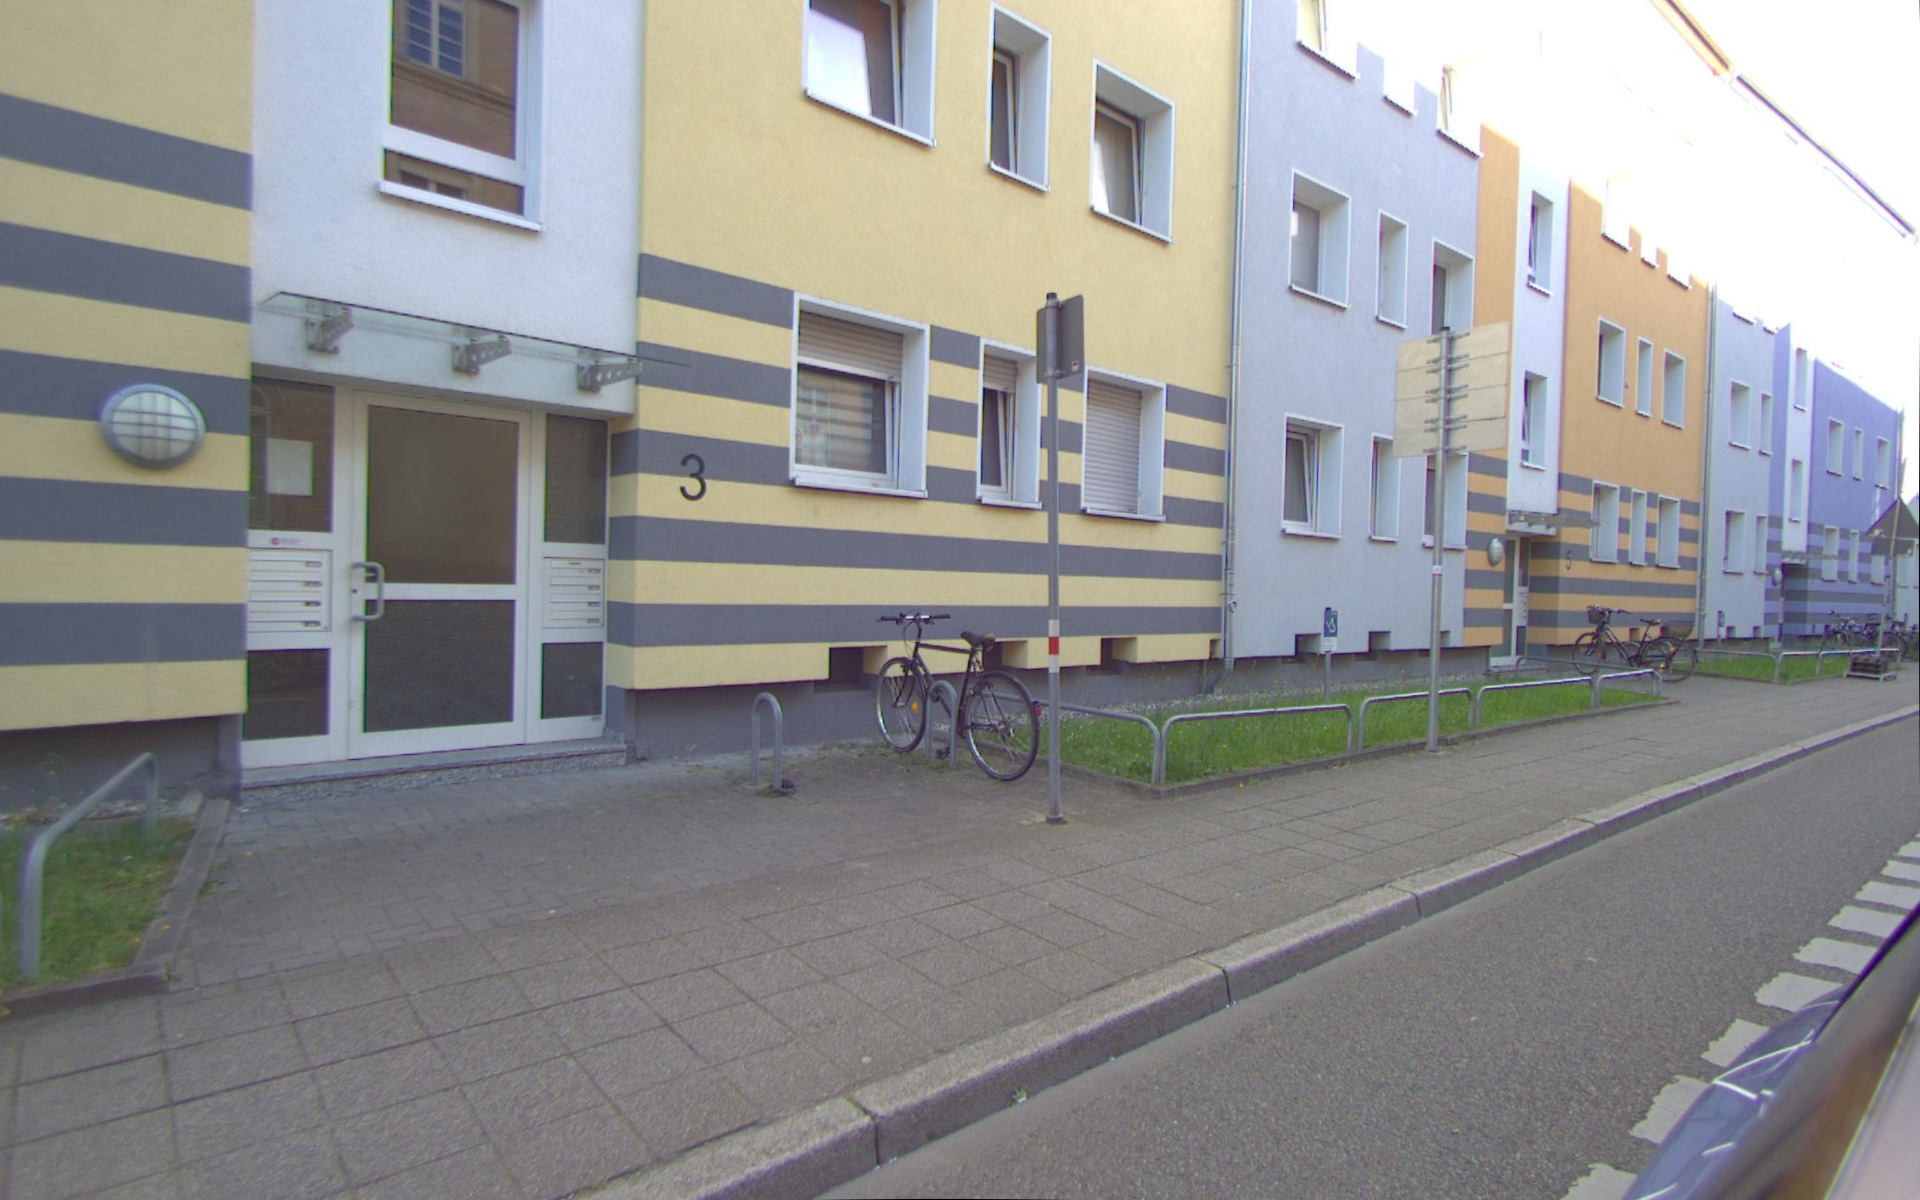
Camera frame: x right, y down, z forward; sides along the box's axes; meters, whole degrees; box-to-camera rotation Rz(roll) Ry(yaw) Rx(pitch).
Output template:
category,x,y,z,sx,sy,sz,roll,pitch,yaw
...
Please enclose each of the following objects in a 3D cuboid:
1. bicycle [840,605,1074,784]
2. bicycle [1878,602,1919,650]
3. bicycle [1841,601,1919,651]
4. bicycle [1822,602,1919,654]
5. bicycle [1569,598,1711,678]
category,x,y,z,sx,sy,sz,roll,pitch,yaw
bicycle,-0.072,0.587,7.020,1.775,1.031,0.476,3,1,44
bicycle,24.135,0.663,25.283,0.475,1.166,1.678,1,1,-37
bicycle,23.307,0.651,25.426,0.475,1.166,1.678,1,1,-37
bicycle,22.226,0.667,24.734,0.475,1.166,1.678,1,1,-37
bicycle,10.688,0.565,15.950,1.775,1.137,0.476,3,1,44
